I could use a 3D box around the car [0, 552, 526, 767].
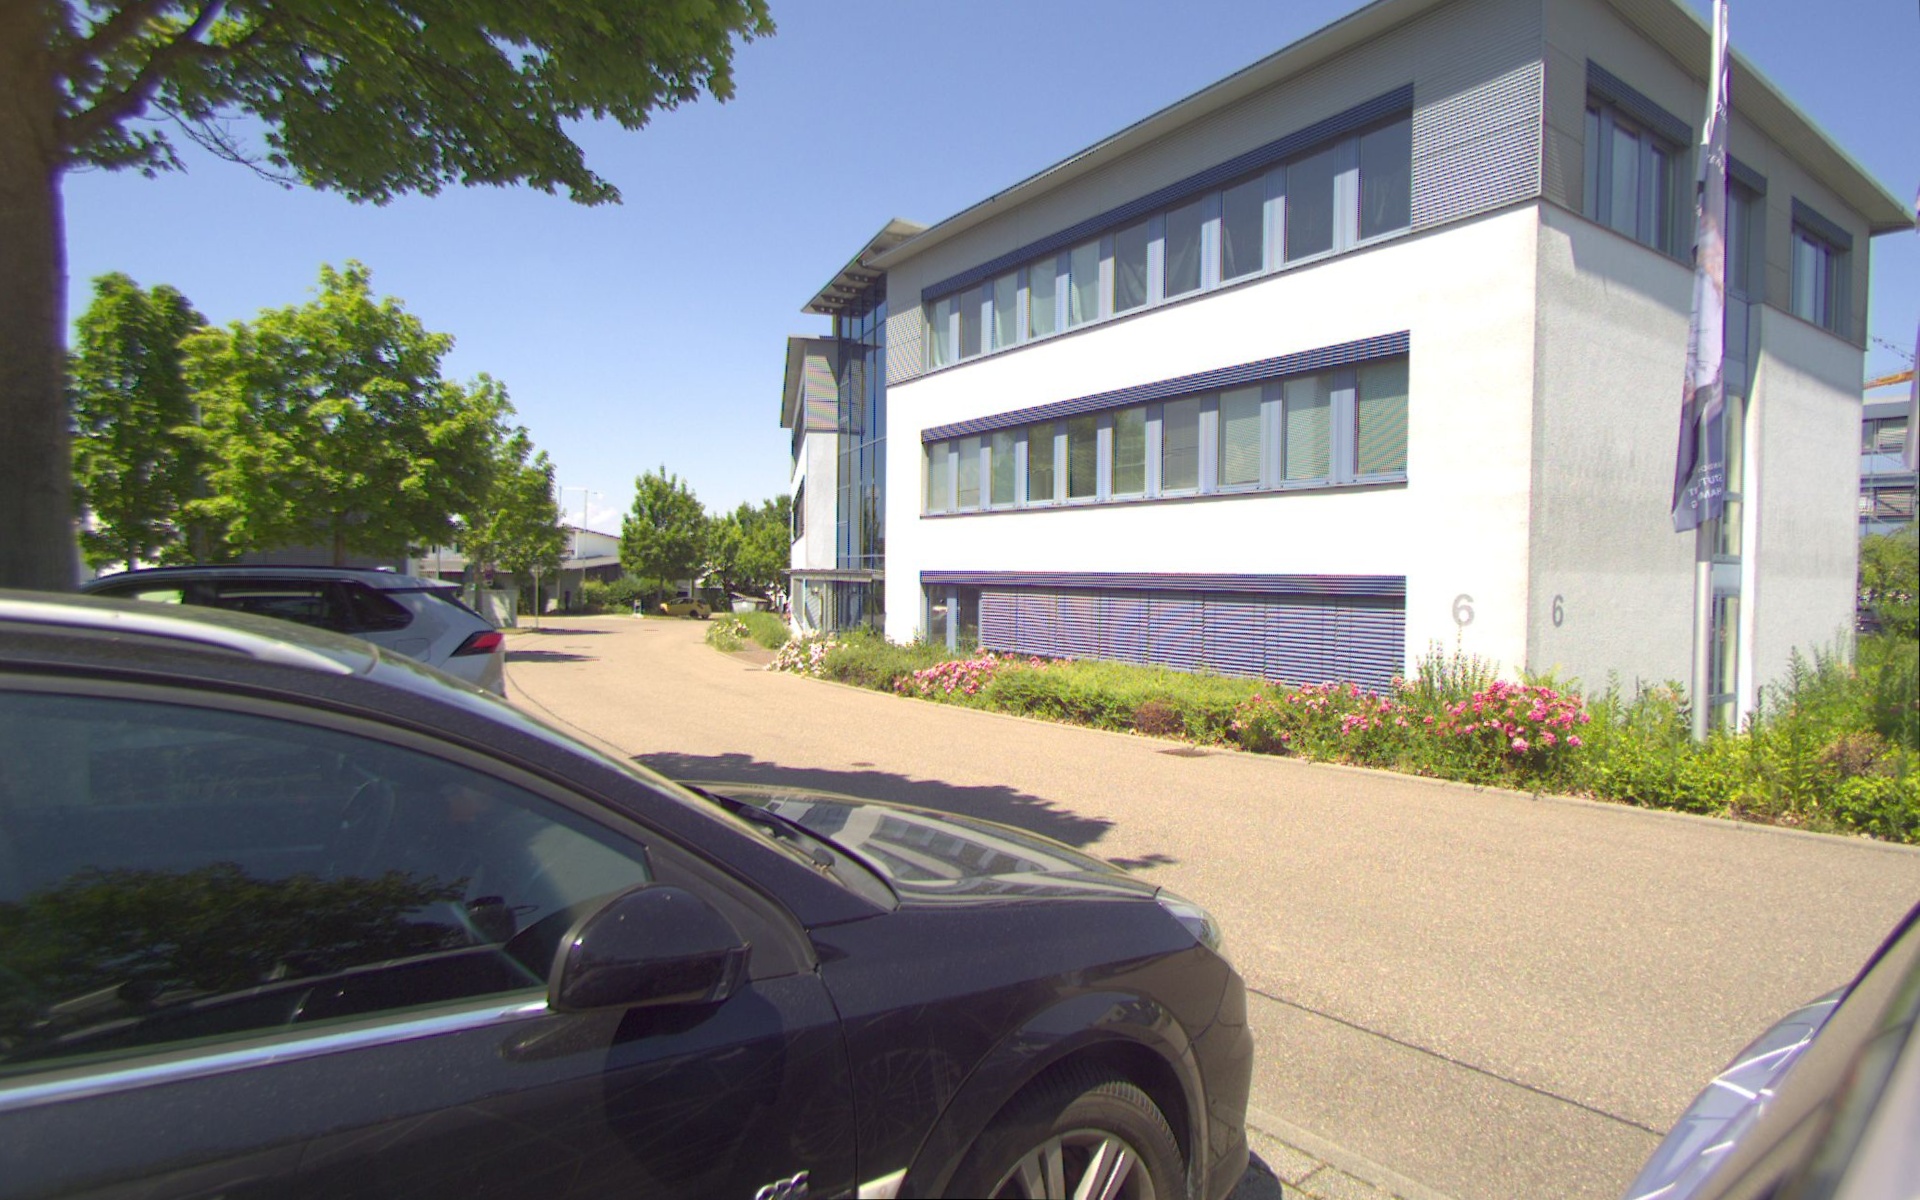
[{"bbox_3d":[-6.488,0.489,9.536,4.124,1.664,1.660,1,-1,-36],"label":"car"}]

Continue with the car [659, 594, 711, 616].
[{"bbox_3d":[-19.102,0.344,70.423,3.170,1.460,1.581,0,0,17],"label":"car"}]

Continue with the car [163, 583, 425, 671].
[{"bbox_3d":[-13.089,0.543,20.195,4.090,1.625,1.664,1,-1,-22],"label":"car"}]

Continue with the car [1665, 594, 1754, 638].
[{"bbox_3d":[28.865,0.585,38.944,3.927,1.565,1.787,-1,0,-38],"label":"car"}]

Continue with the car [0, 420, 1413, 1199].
[{"bbox_3d":[-1.252,0.627,1.635,4.482,1.569,1.762,0,0,-38],"label":"car"}]

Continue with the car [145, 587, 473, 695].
[{"bbox_3d":[-9.928,0.603,15.805,4.093,1.505,1.663,1,-1,-29],"label":"car"}]

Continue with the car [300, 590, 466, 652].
[{"bbox_3d":[-15.074,0.555,26.634,3.514,1.545,1.639,1,-1,-18],"label":"car"}]

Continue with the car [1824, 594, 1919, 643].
[{"bbox_3d":[31.583,0.604,35.045,3.927,1.565,1.787,-1,0,-38],"label":"car"}]

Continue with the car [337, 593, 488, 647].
[{"bbox_3d":[-15.575,0.566,28.973,3.514,1.461,1.639,1,-1,-18],"label":"car"}]

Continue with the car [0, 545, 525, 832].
[{"bbox_3d":[-5.521,0.520,7.053,4.250,1.664,1.857,1,-1,-36],"label":"car"}]

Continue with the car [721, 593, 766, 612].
[{"bbox_3d":[-17.485,0.199,81.775,3.170,1.460,1.581,0,0,17],"label":"car"}]
